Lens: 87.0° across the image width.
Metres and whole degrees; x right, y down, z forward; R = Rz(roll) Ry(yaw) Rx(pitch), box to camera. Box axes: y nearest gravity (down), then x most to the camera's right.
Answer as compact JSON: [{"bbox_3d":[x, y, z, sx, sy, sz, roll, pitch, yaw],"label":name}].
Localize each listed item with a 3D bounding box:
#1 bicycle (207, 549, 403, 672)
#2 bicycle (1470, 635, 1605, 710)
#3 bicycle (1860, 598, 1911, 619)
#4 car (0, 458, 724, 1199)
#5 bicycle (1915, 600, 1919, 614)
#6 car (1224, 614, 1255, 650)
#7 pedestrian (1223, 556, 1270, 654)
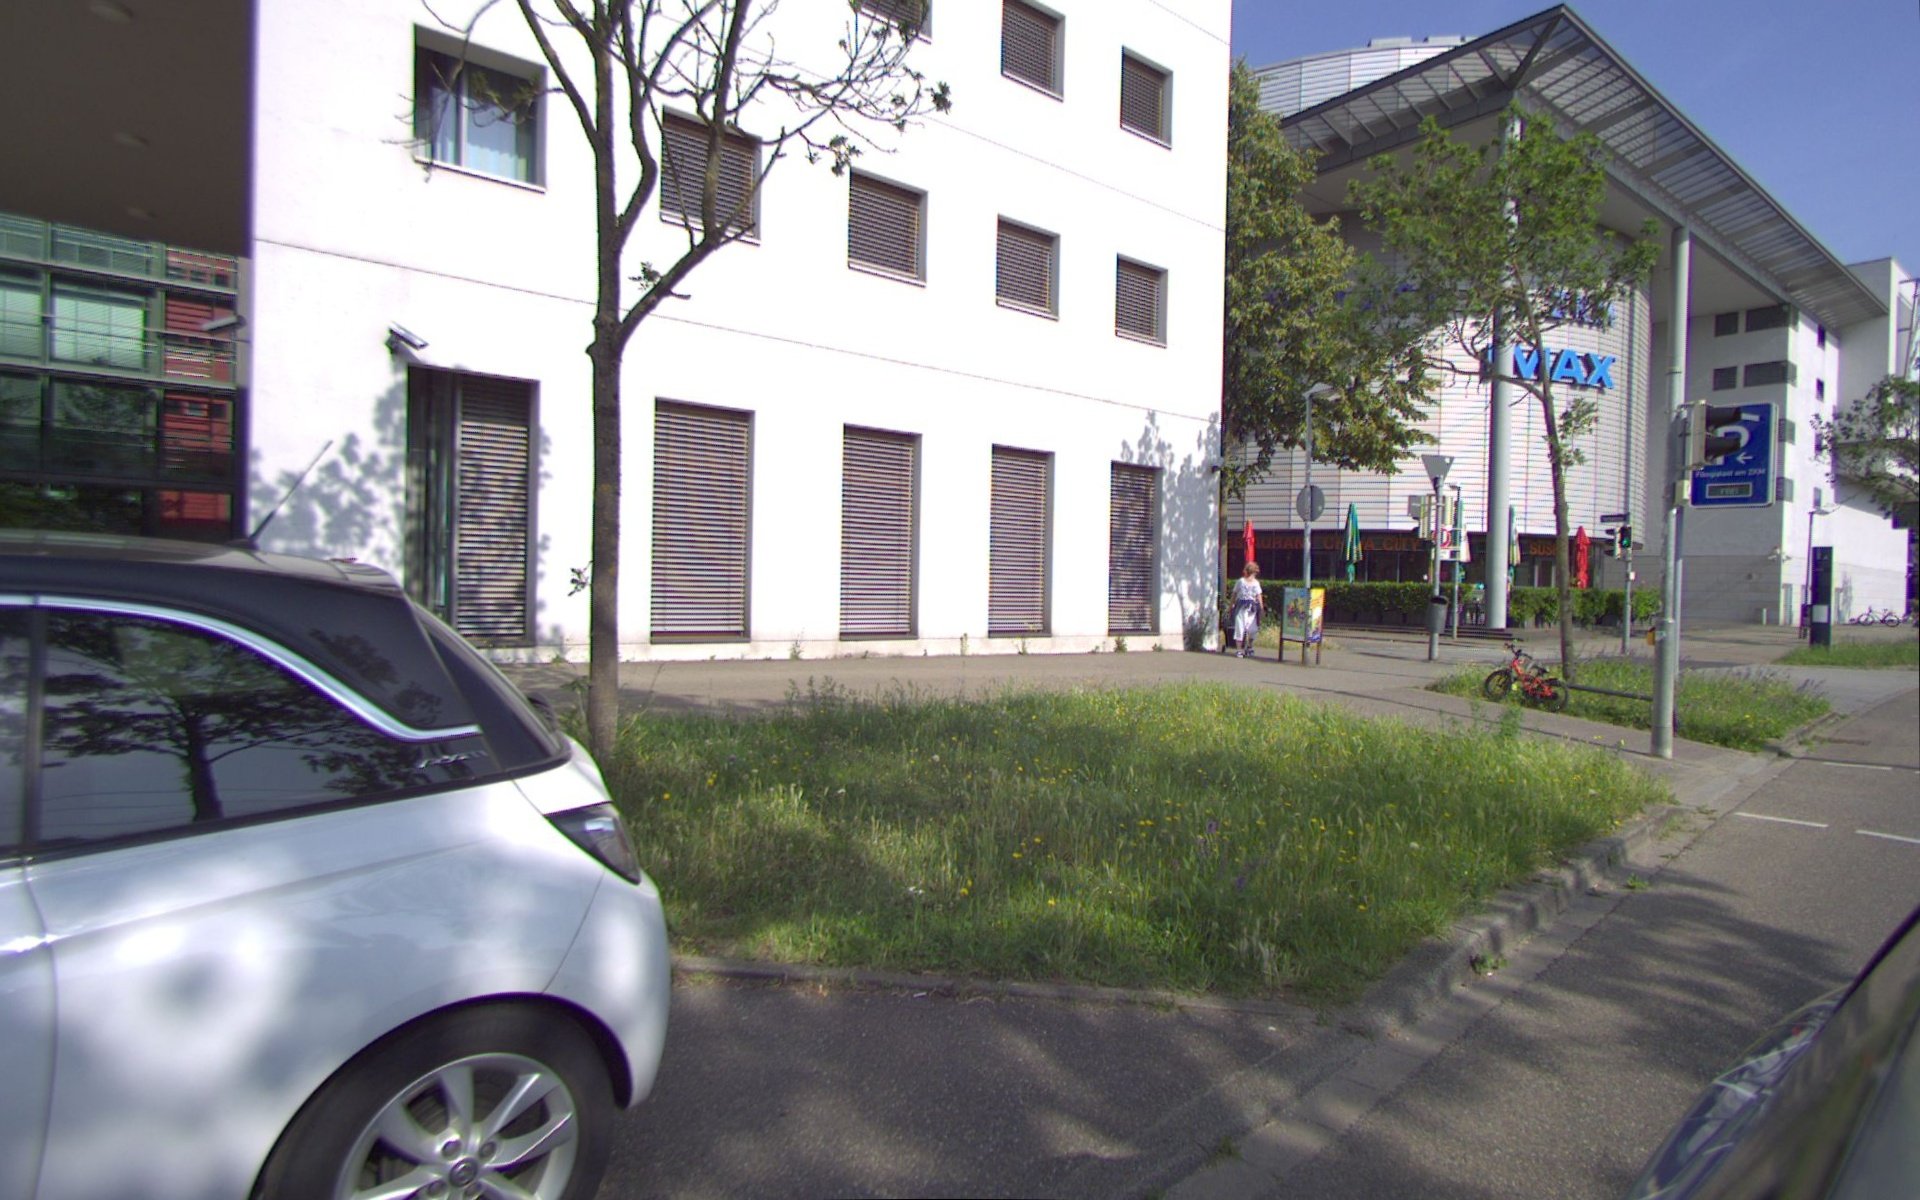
[{"bbox_3d":[-6.290,0.084,9.762,1.523,1.099,0.494,0,3,-41],"label":"bicycle"},{"bbox_3d":[6.913,0.847,12.162,0.511,0.639,1.278,0,7,-30],"label":"bicycle"},{"bbox_3d":[52.702,0.484,57.647,0.662,1.116,2.016,0,1,-33],"label":"bicycle"},{"bbox_3d":[-2.480,0.538,1.612,3.714,1.538,1.724,1,1,-41],"label":"car"},{"bbox_3d":[63.836,0.478,66.383,0.473,0.926,1.662,1,2,-37],"label":"bicycle"},{"bbox_3d":[5.054,0.573,18.312,0.492,0.595,0.763,2,1,18],"label":"car"},{"bbox_3d":[4.969,0.072,17.528,0.704,1.636,0.775,2,1,18],"label":"pedestrian"}]
